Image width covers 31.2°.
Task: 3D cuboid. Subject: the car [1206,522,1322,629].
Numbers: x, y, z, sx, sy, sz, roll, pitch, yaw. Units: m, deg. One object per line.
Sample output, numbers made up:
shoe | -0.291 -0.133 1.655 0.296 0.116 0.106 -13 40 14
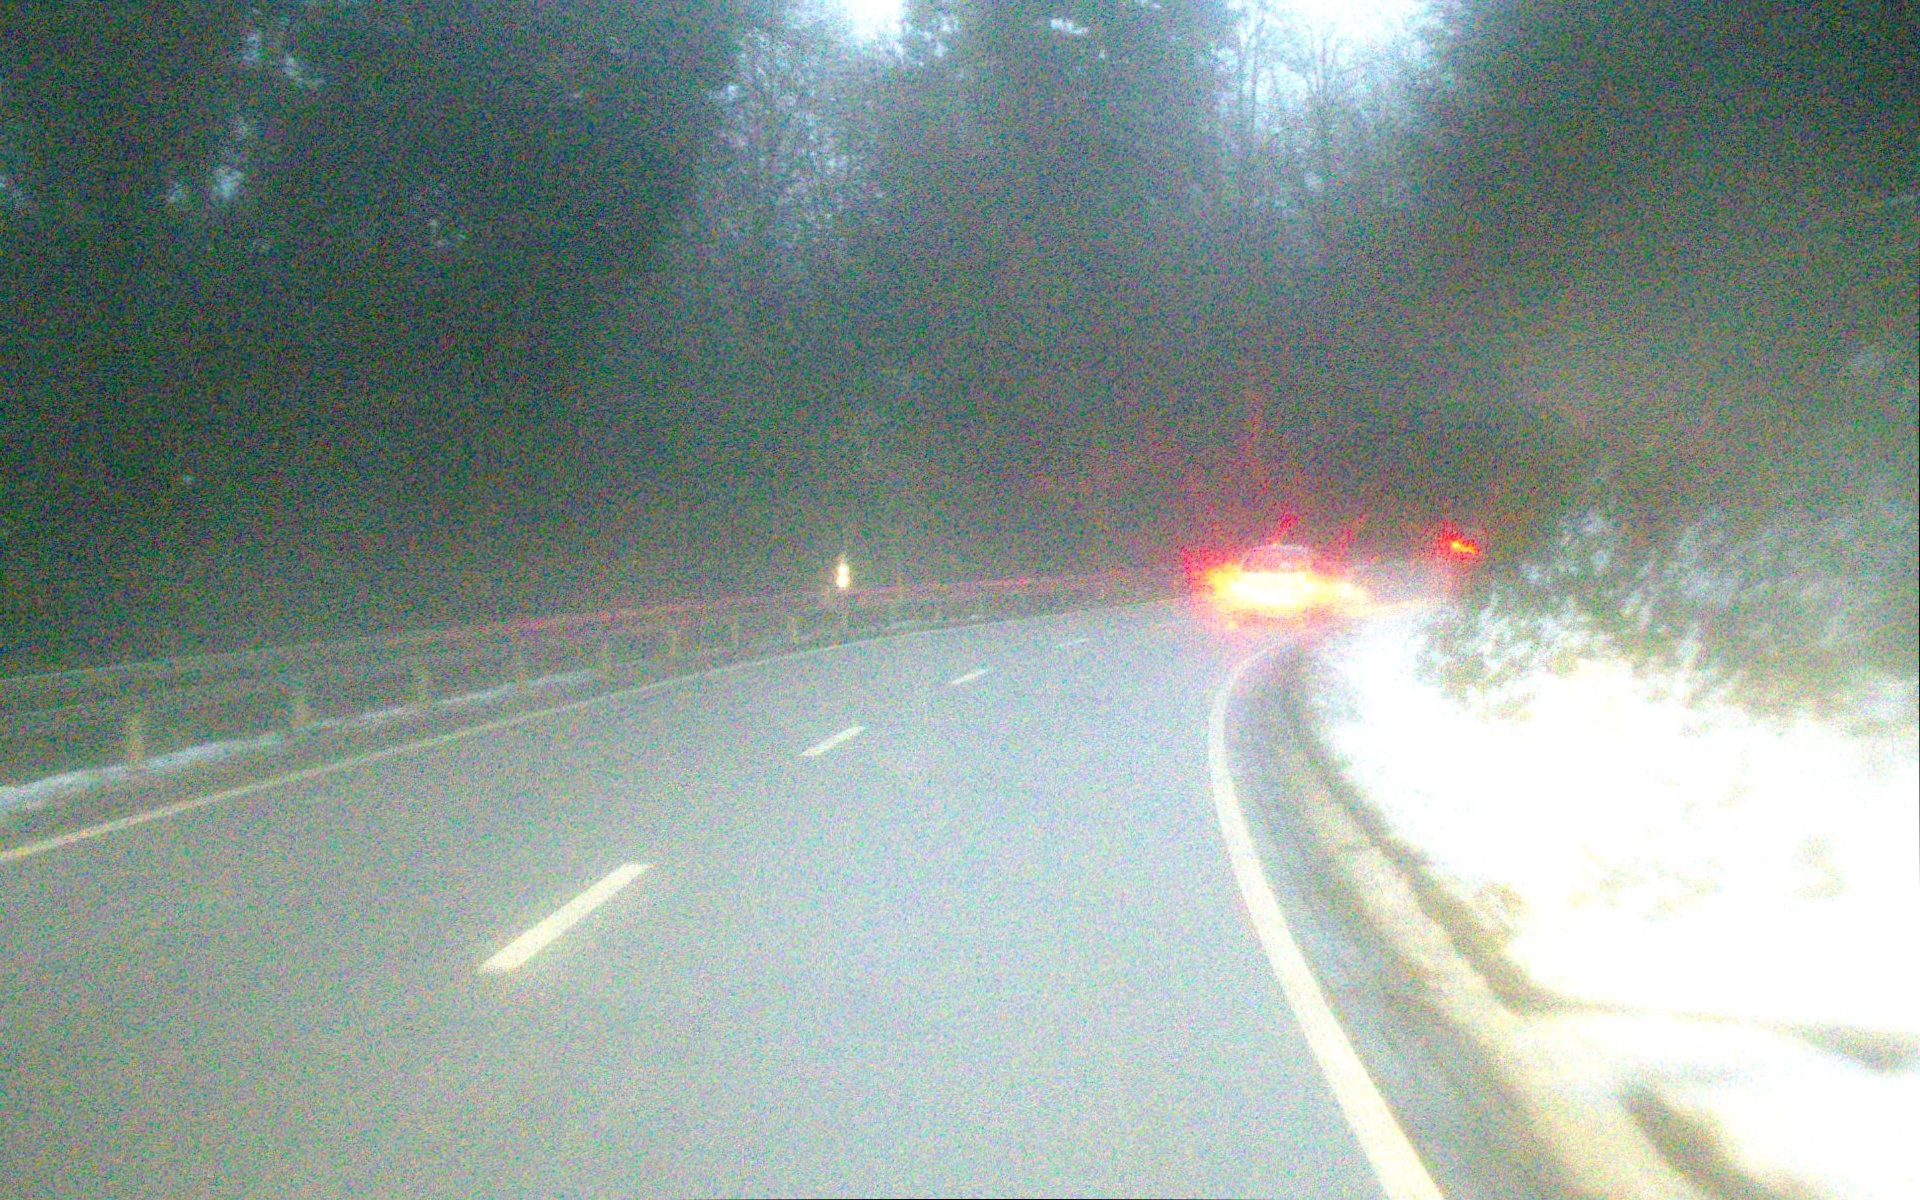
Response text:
car | 5.639 -0.478 64.140 1.994 1.866 4.000 -2 1 3

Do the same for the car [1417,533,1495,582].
car | 13.975 -1.216 97.084 1.994 1.305 3.999 -2 1 6
